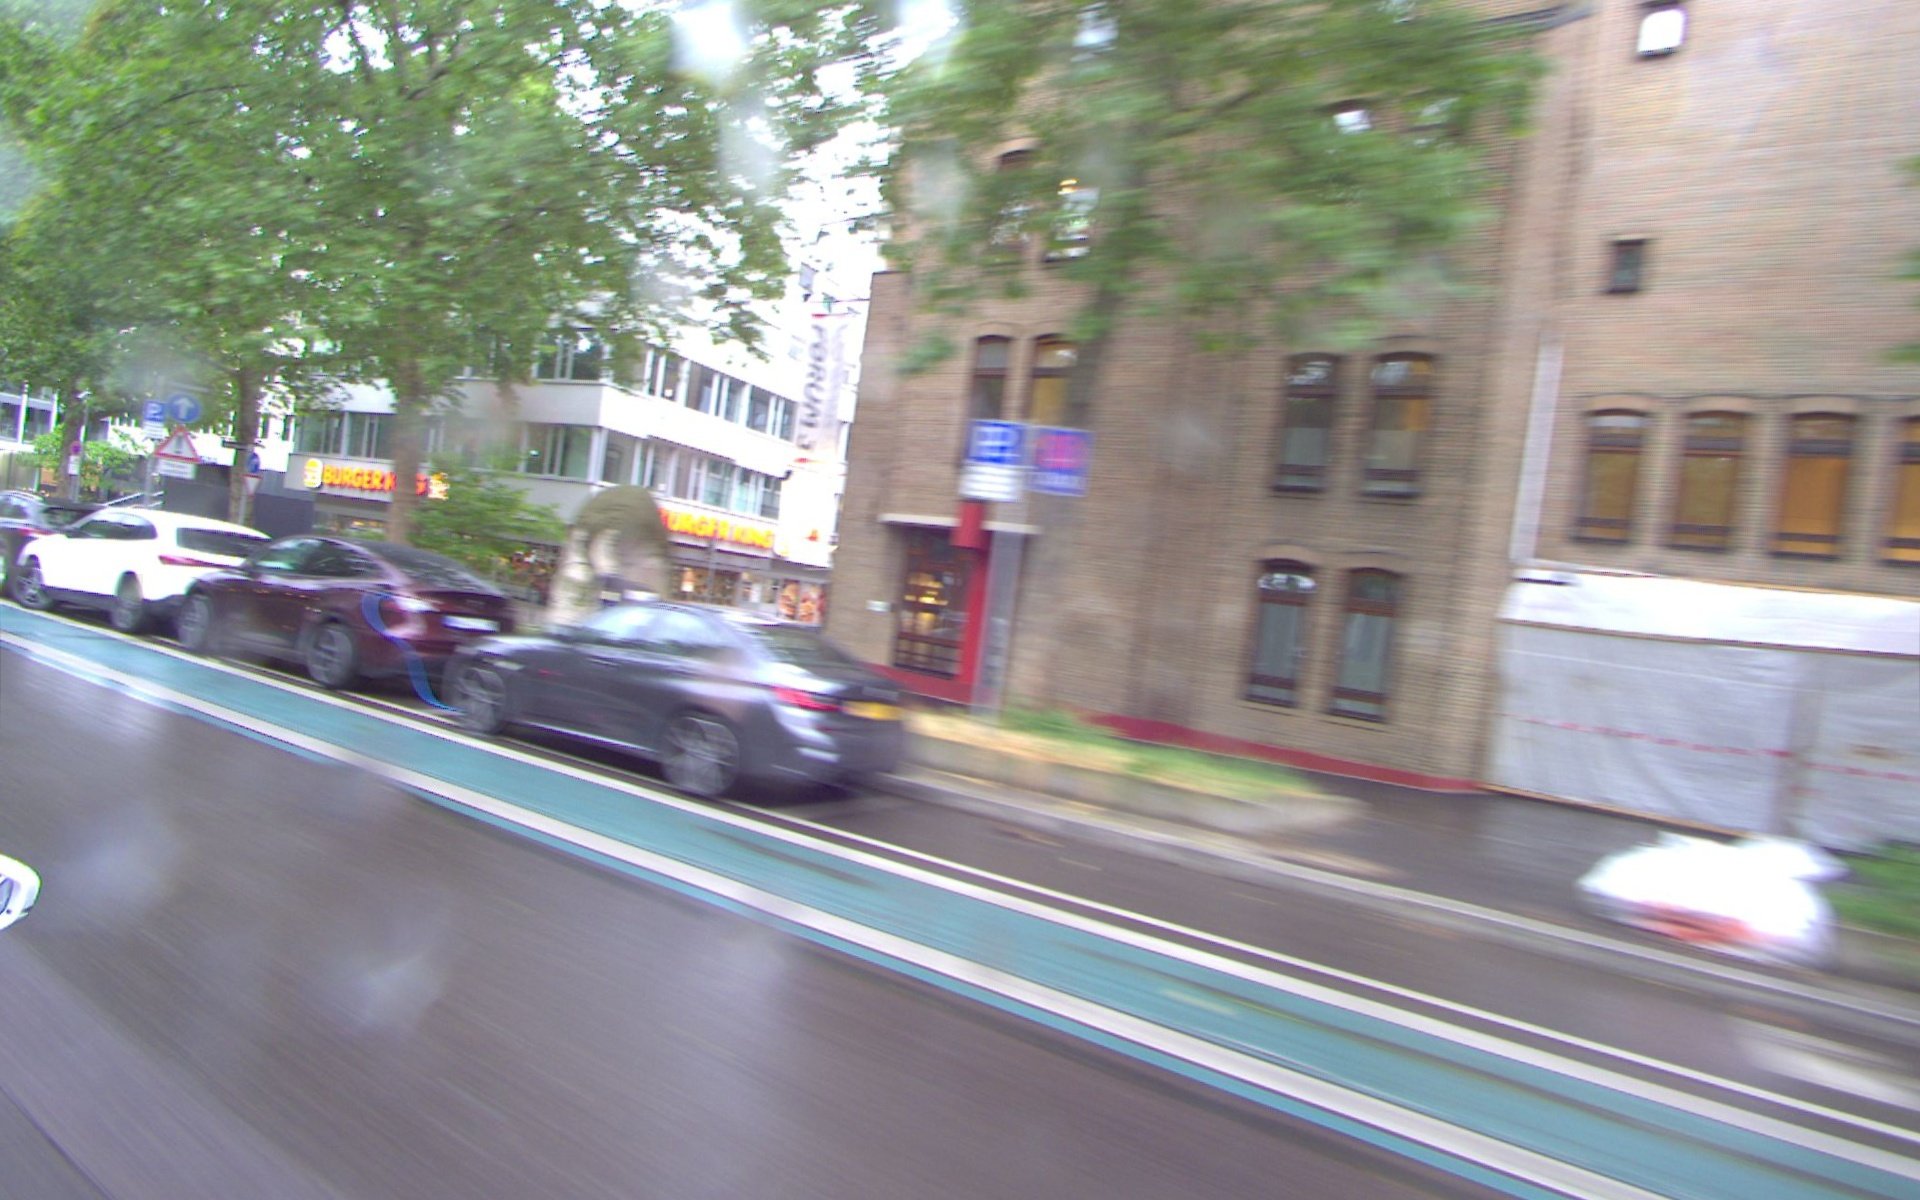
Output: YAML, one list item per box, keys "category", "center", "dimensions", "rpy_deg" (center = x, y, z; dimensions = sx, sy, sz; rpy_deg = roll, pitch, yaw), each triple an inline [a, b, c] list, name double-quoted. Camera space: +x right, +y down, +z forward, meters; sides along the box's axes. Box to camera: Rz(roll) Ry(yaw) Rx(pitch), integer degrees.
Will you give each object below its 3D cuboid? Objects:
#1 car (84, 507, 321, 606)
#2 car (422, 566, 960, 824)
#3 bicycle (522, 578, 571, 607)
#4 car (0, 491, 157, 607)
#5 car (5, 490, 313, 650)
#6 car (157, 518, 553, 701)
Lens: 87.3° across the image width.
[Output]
- category: "car"
  center: [-17.930, -0.986, 23.906]
  dimensions: [4.233, 1.584, 2.031]
  rpy_deg: [10, -3, -42]
- category: "car"
  center: [-2.490, 0.720, 8.947]
  dimensions: [4.534, 1.437, 1.877]
  rpy_deg: [7, -2, 31]
- category: "bicycle"
  center: [-14.902, -0.281, 36.202]
  dimensions: [1.993, 0.846, 0.449]
  rpy_deg: [6, -2, 32]
- category: "car"
  center: [-15.370, -0.927, 16.659]
  dimensions: [3.954, 1.540, 1.700]
  rpy_deg: [6, -2, 28]
- category: "car"
  center: [-11.249, -0.429, 14.108]
  dimensions: [4.002, 1.589, 1.733]
  rpy_deg: [8, -2, 27]
- category: "car"
  center: [-7.201, 0.091, 11.887]
  dimensions: [4.480, 1.537, 1.873]
  rpy_deg: [6, -3, 29]
